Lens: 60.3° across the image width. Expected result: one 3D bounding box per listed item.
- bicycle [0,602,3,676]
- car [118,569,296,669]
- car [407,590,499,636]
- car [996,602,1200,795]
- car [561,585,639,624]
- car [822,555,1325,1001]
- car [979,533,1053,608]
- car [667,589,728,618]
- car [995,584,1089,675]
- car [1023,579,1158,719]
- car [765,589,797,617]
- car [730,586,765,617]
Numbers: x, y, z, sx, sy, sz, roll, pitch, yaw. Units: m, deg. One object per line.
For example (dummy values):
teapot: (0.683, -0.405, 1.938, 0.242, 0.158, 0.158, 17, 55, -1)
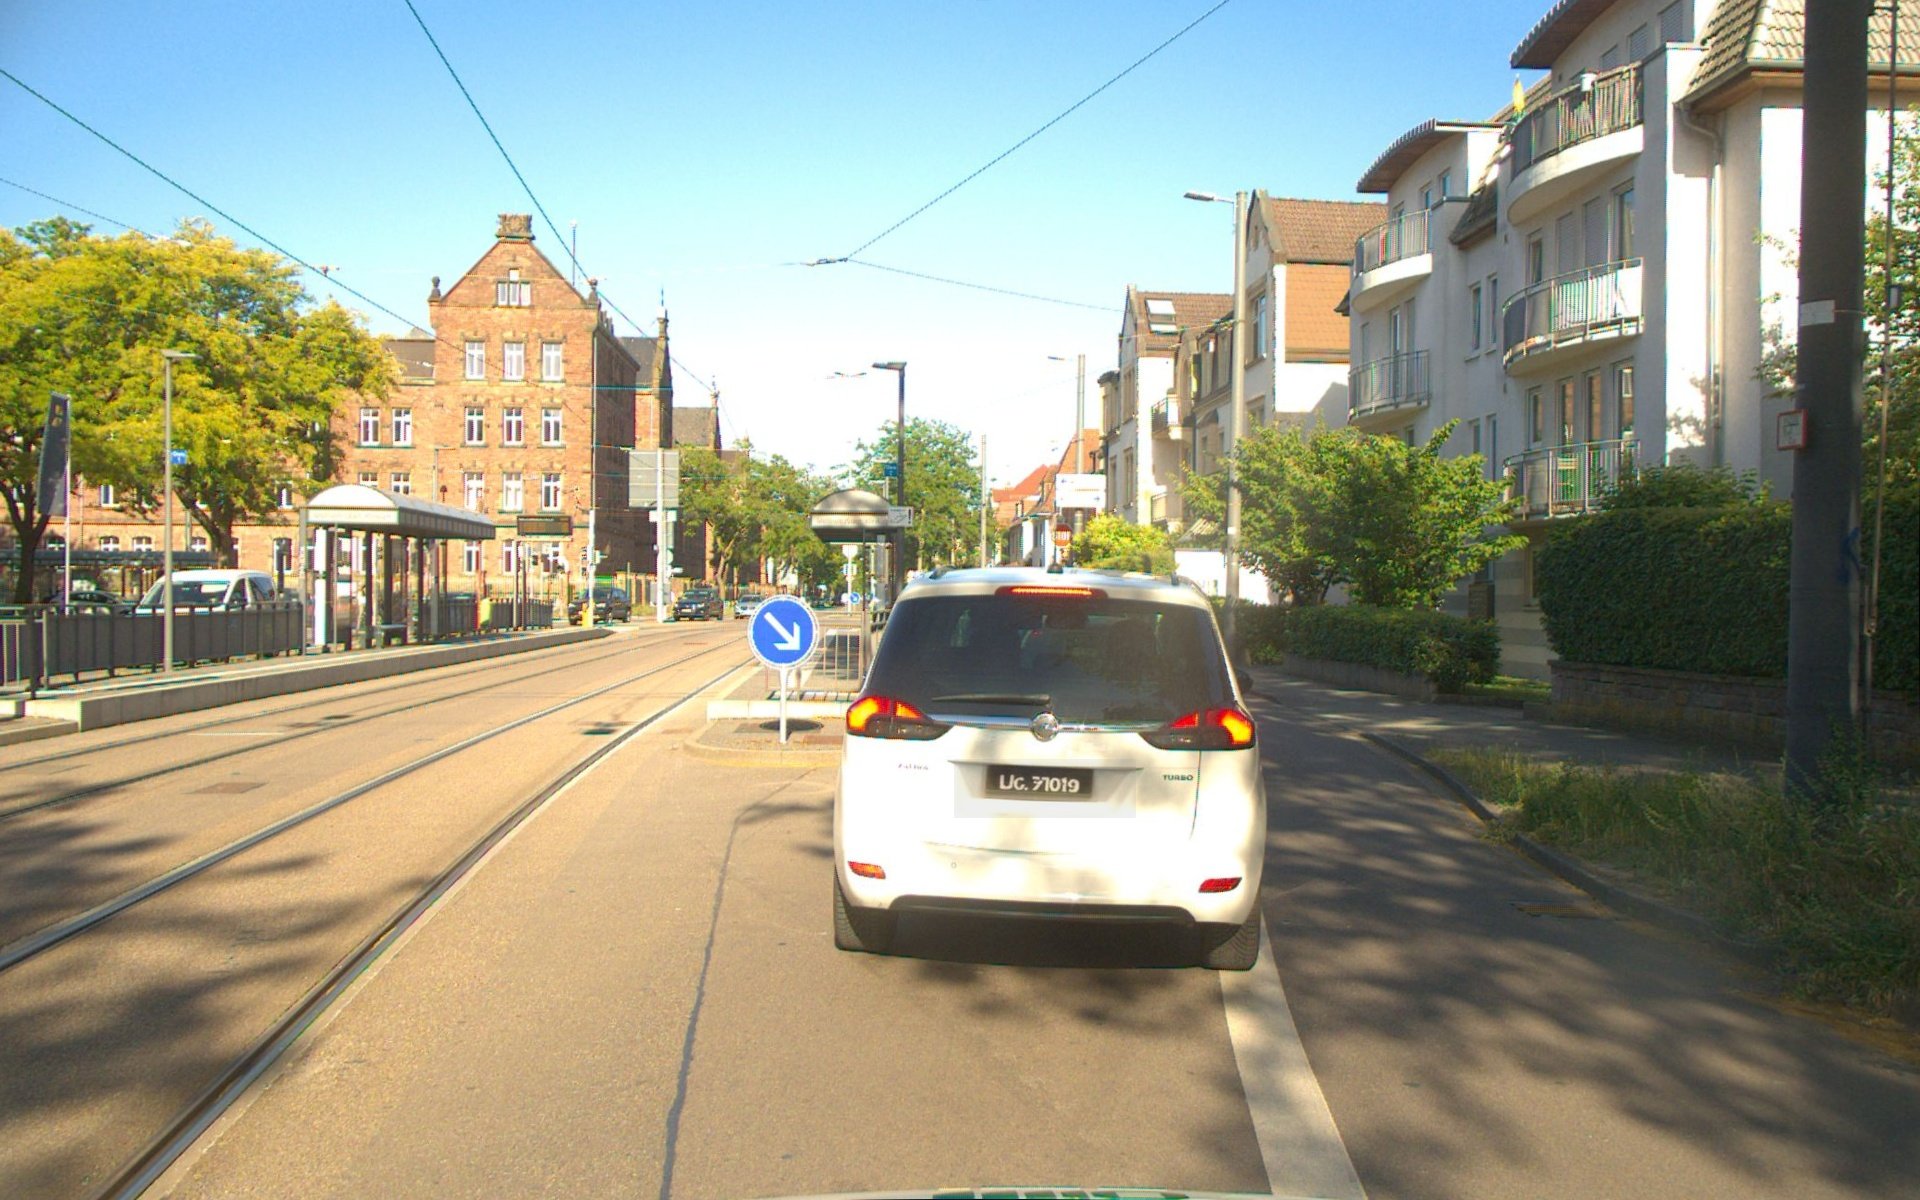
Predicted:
bicycle: (-16.587, 0.662, 27.074, 0.762, 1.252, 2.087, 0, 0, -4)
car: (-14.571, 0.331, 32.270, 1.791, 1.819, 4.251, 0, 0, -4)
car: (-16.367, 0.391, 53.583, 1.762, 1.406, 4.493, 0, 1, -2)
car: (1.229, 0.765, 14.789, 1.536, 1.426, 3.786, 2, 0, 5)
car: (-15.701, 0.222, 72.283, 1.788, 1.645, 4.331, 1, -1, 10)
car: (0.571, 0.637, 8.083, 1.838, 1.613, 4.002, 0, 0, 5)
car: (1.322, -0.722, 40.316, 1.563, 1.663, 3.901, 2, 1, -1)
car: (-13.613, 0.197, 85.978, 1.788, 1.471, 4.331, 1, -1, 10)
car: (1.597, 0.545, 33.294, 1.563, 1.663, 3.900, 2, 0, -1)
car: (1.655, 0.583, 22.032, 1.537, 1.643, 3.785, 2, 0, 1)
car: (-13.690, 0.229, 126.534, 1.952, 2.049, 4.000, 1, 0, 0)
car: (-12.840, 0.087, 100.196, 1.790, 1.819, 4.324, 1, -1, -3)
